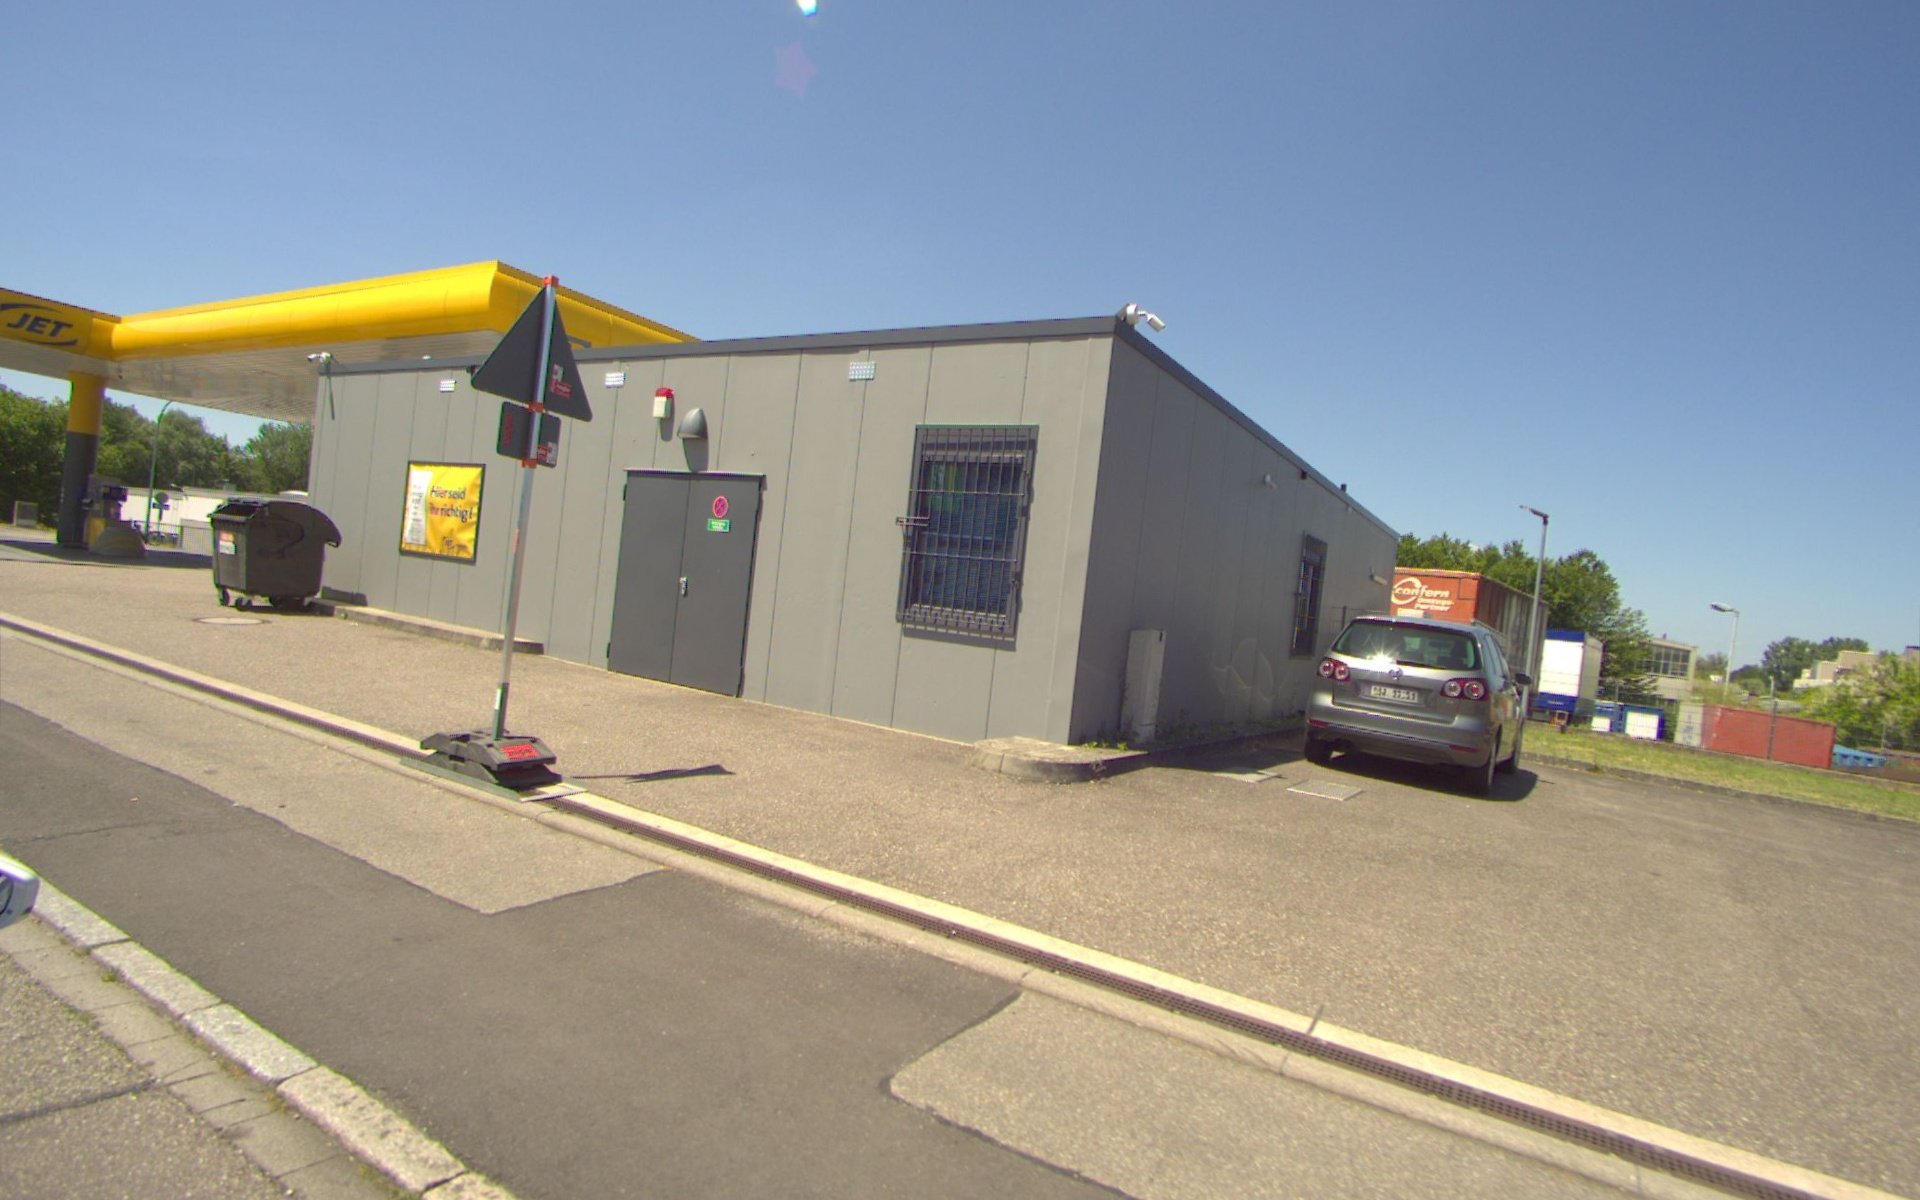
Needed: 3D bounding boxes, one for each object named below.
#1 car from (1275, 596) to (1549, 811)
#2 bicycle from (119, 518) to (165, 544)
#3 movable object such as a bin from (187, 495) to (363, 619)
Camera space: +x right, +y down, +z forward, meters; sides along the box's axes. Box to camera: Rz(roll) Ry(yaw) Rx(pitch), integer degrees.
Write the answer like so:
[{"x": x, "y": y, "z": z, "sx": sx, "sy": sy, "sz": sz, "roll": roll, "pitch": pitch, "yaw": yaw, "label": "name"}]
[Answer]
[{"x": 5.018, "y": 1.055, "z": 10.831, "sx": 1.916, "sy": 1.677, "sz": 3.991, "roll": 7, "pitch": -1, "yaw": 34, "label": "car"}, {"x": -42.843, "y": -3.608, "z": 52.699, "sx": 0.461, "sy": 1.110, "sz": 1.693, "roll": 7, "pitch": -1, "yaw": 37, "label": "bicycle"}, {"x": -9.301, "y": -0.569, "z": 13.683, "sx": 1.443, "sy": 1.456, "sz": 1.435, "roll": 7, "pitch": 2, "yaw": 32, "label": "movable object such as a bin"}]
